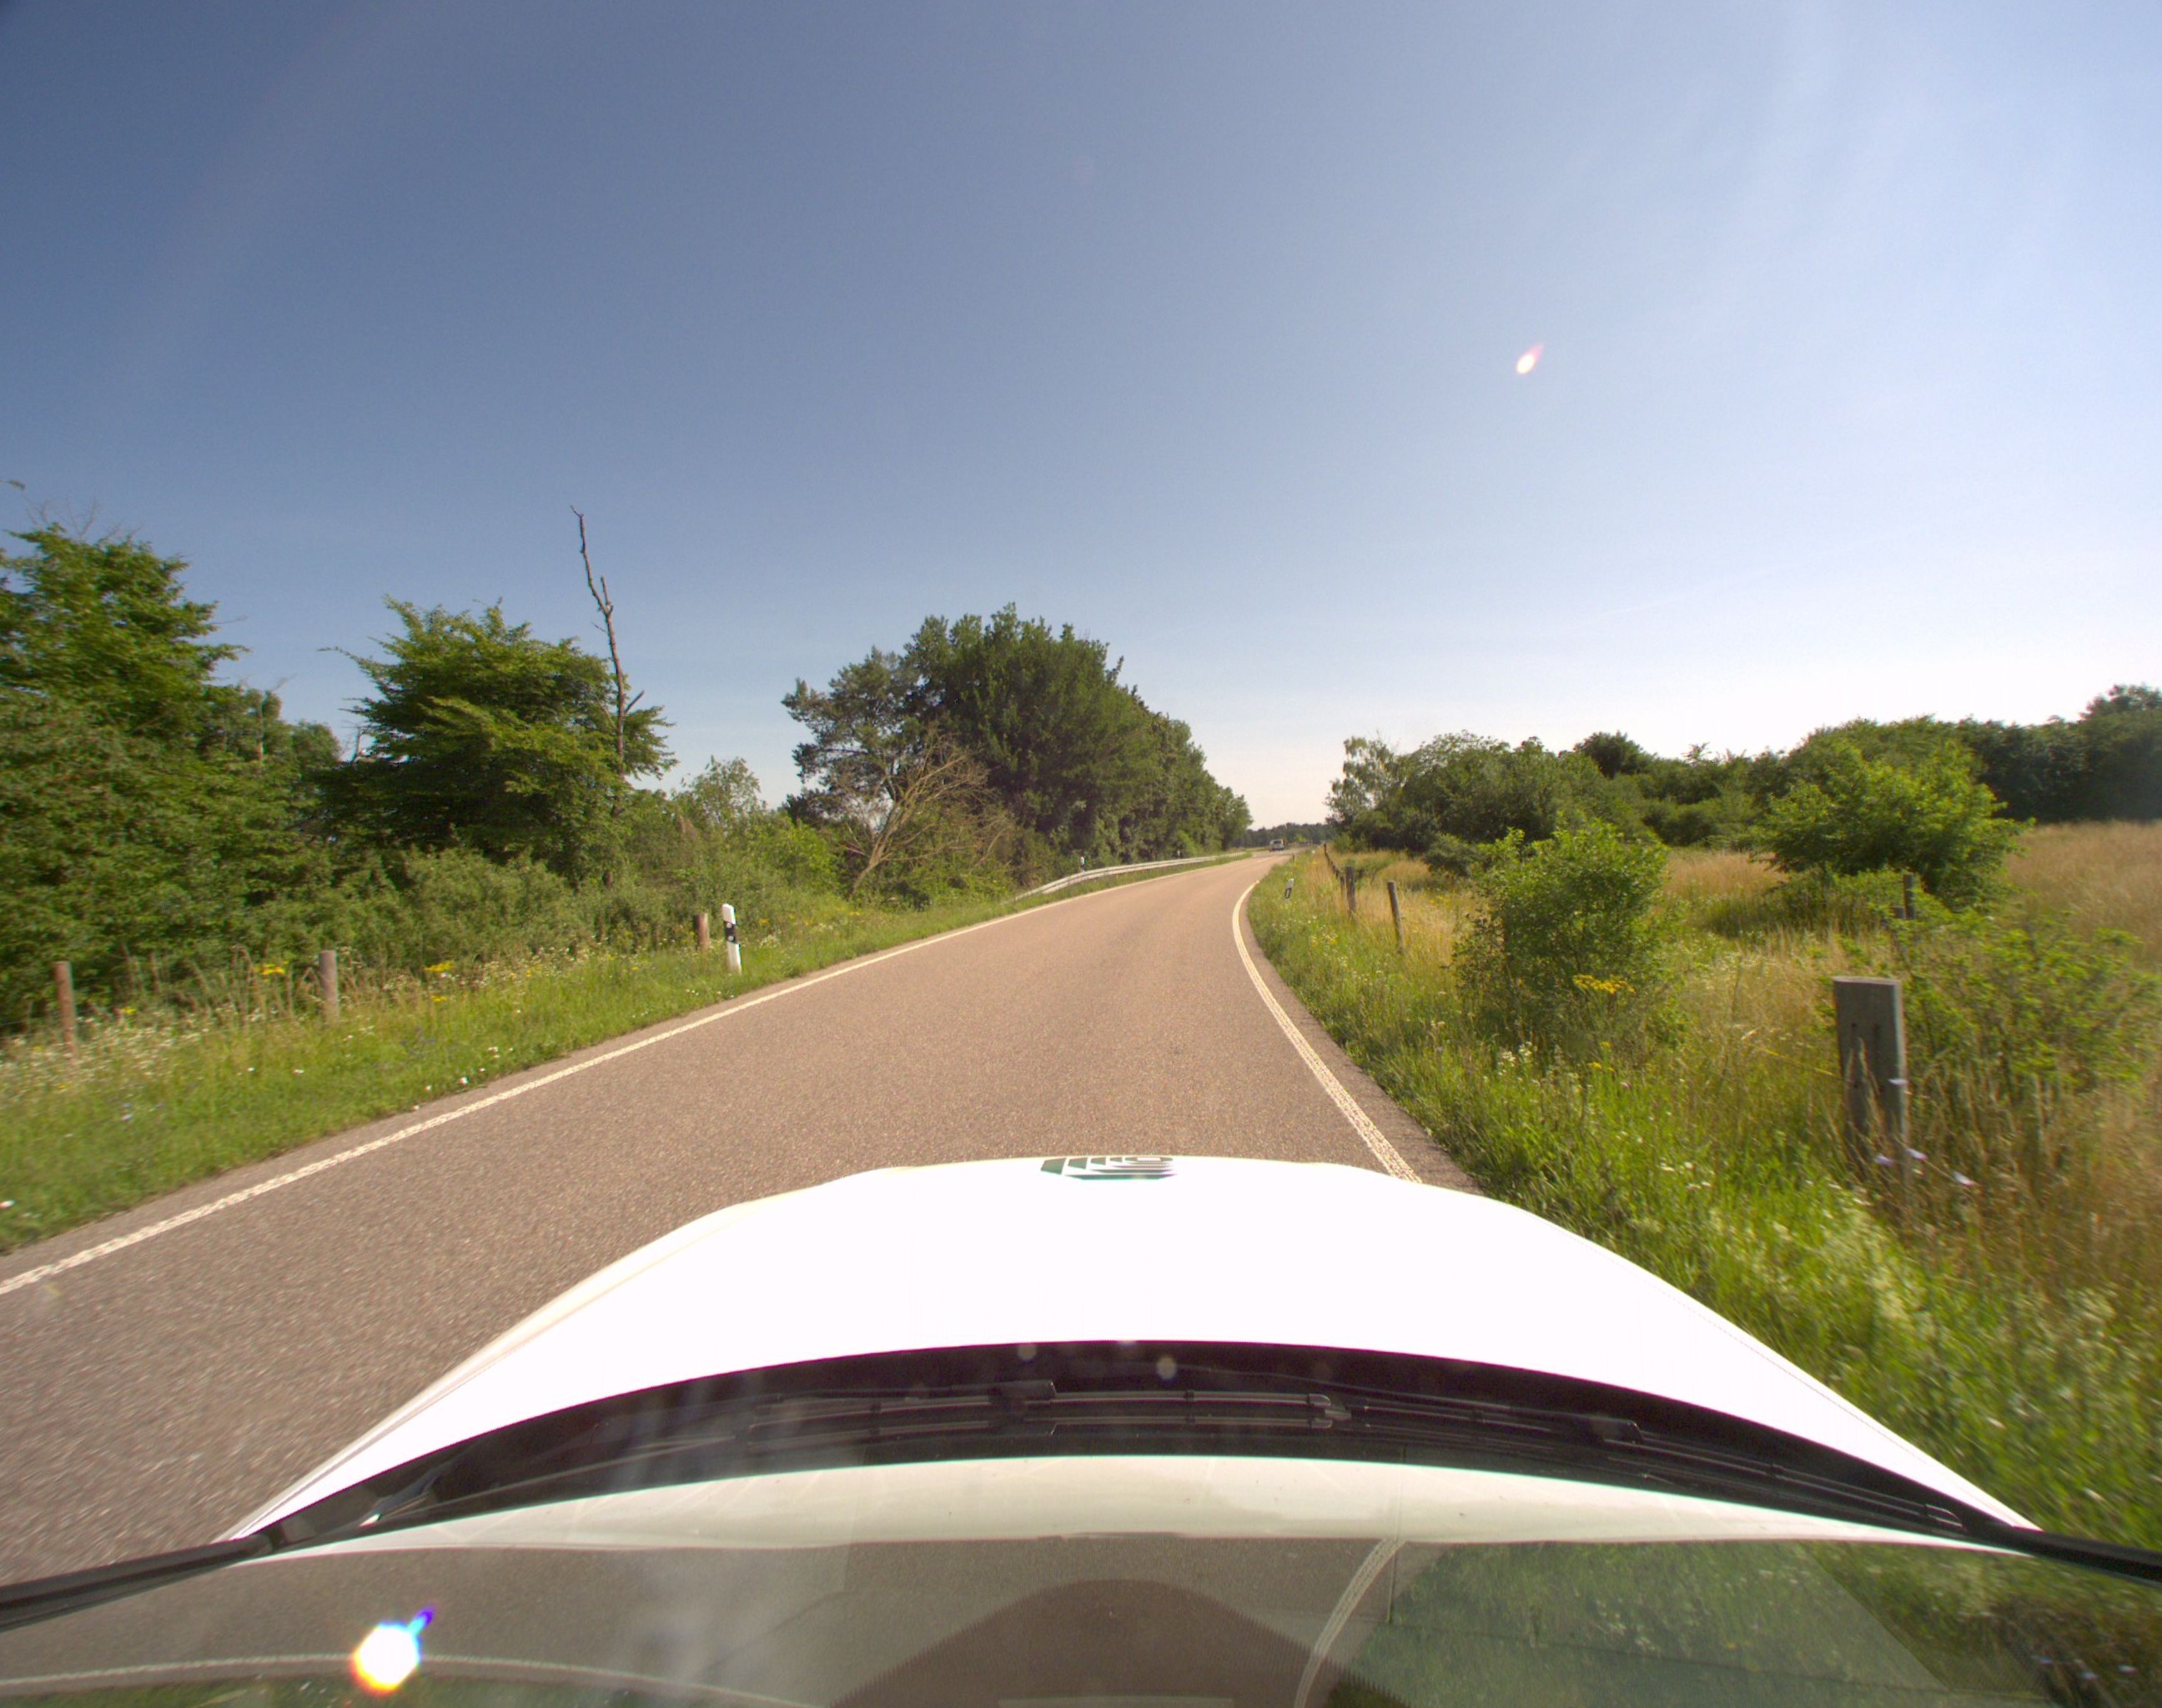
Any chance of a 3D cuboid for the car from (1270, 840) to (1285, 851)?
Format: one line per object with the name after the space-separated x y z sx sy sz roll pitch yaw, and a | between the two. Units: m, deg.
33.848 -1.394 140.612 1.952 1.802 4.167 -1 -1 6 | car
